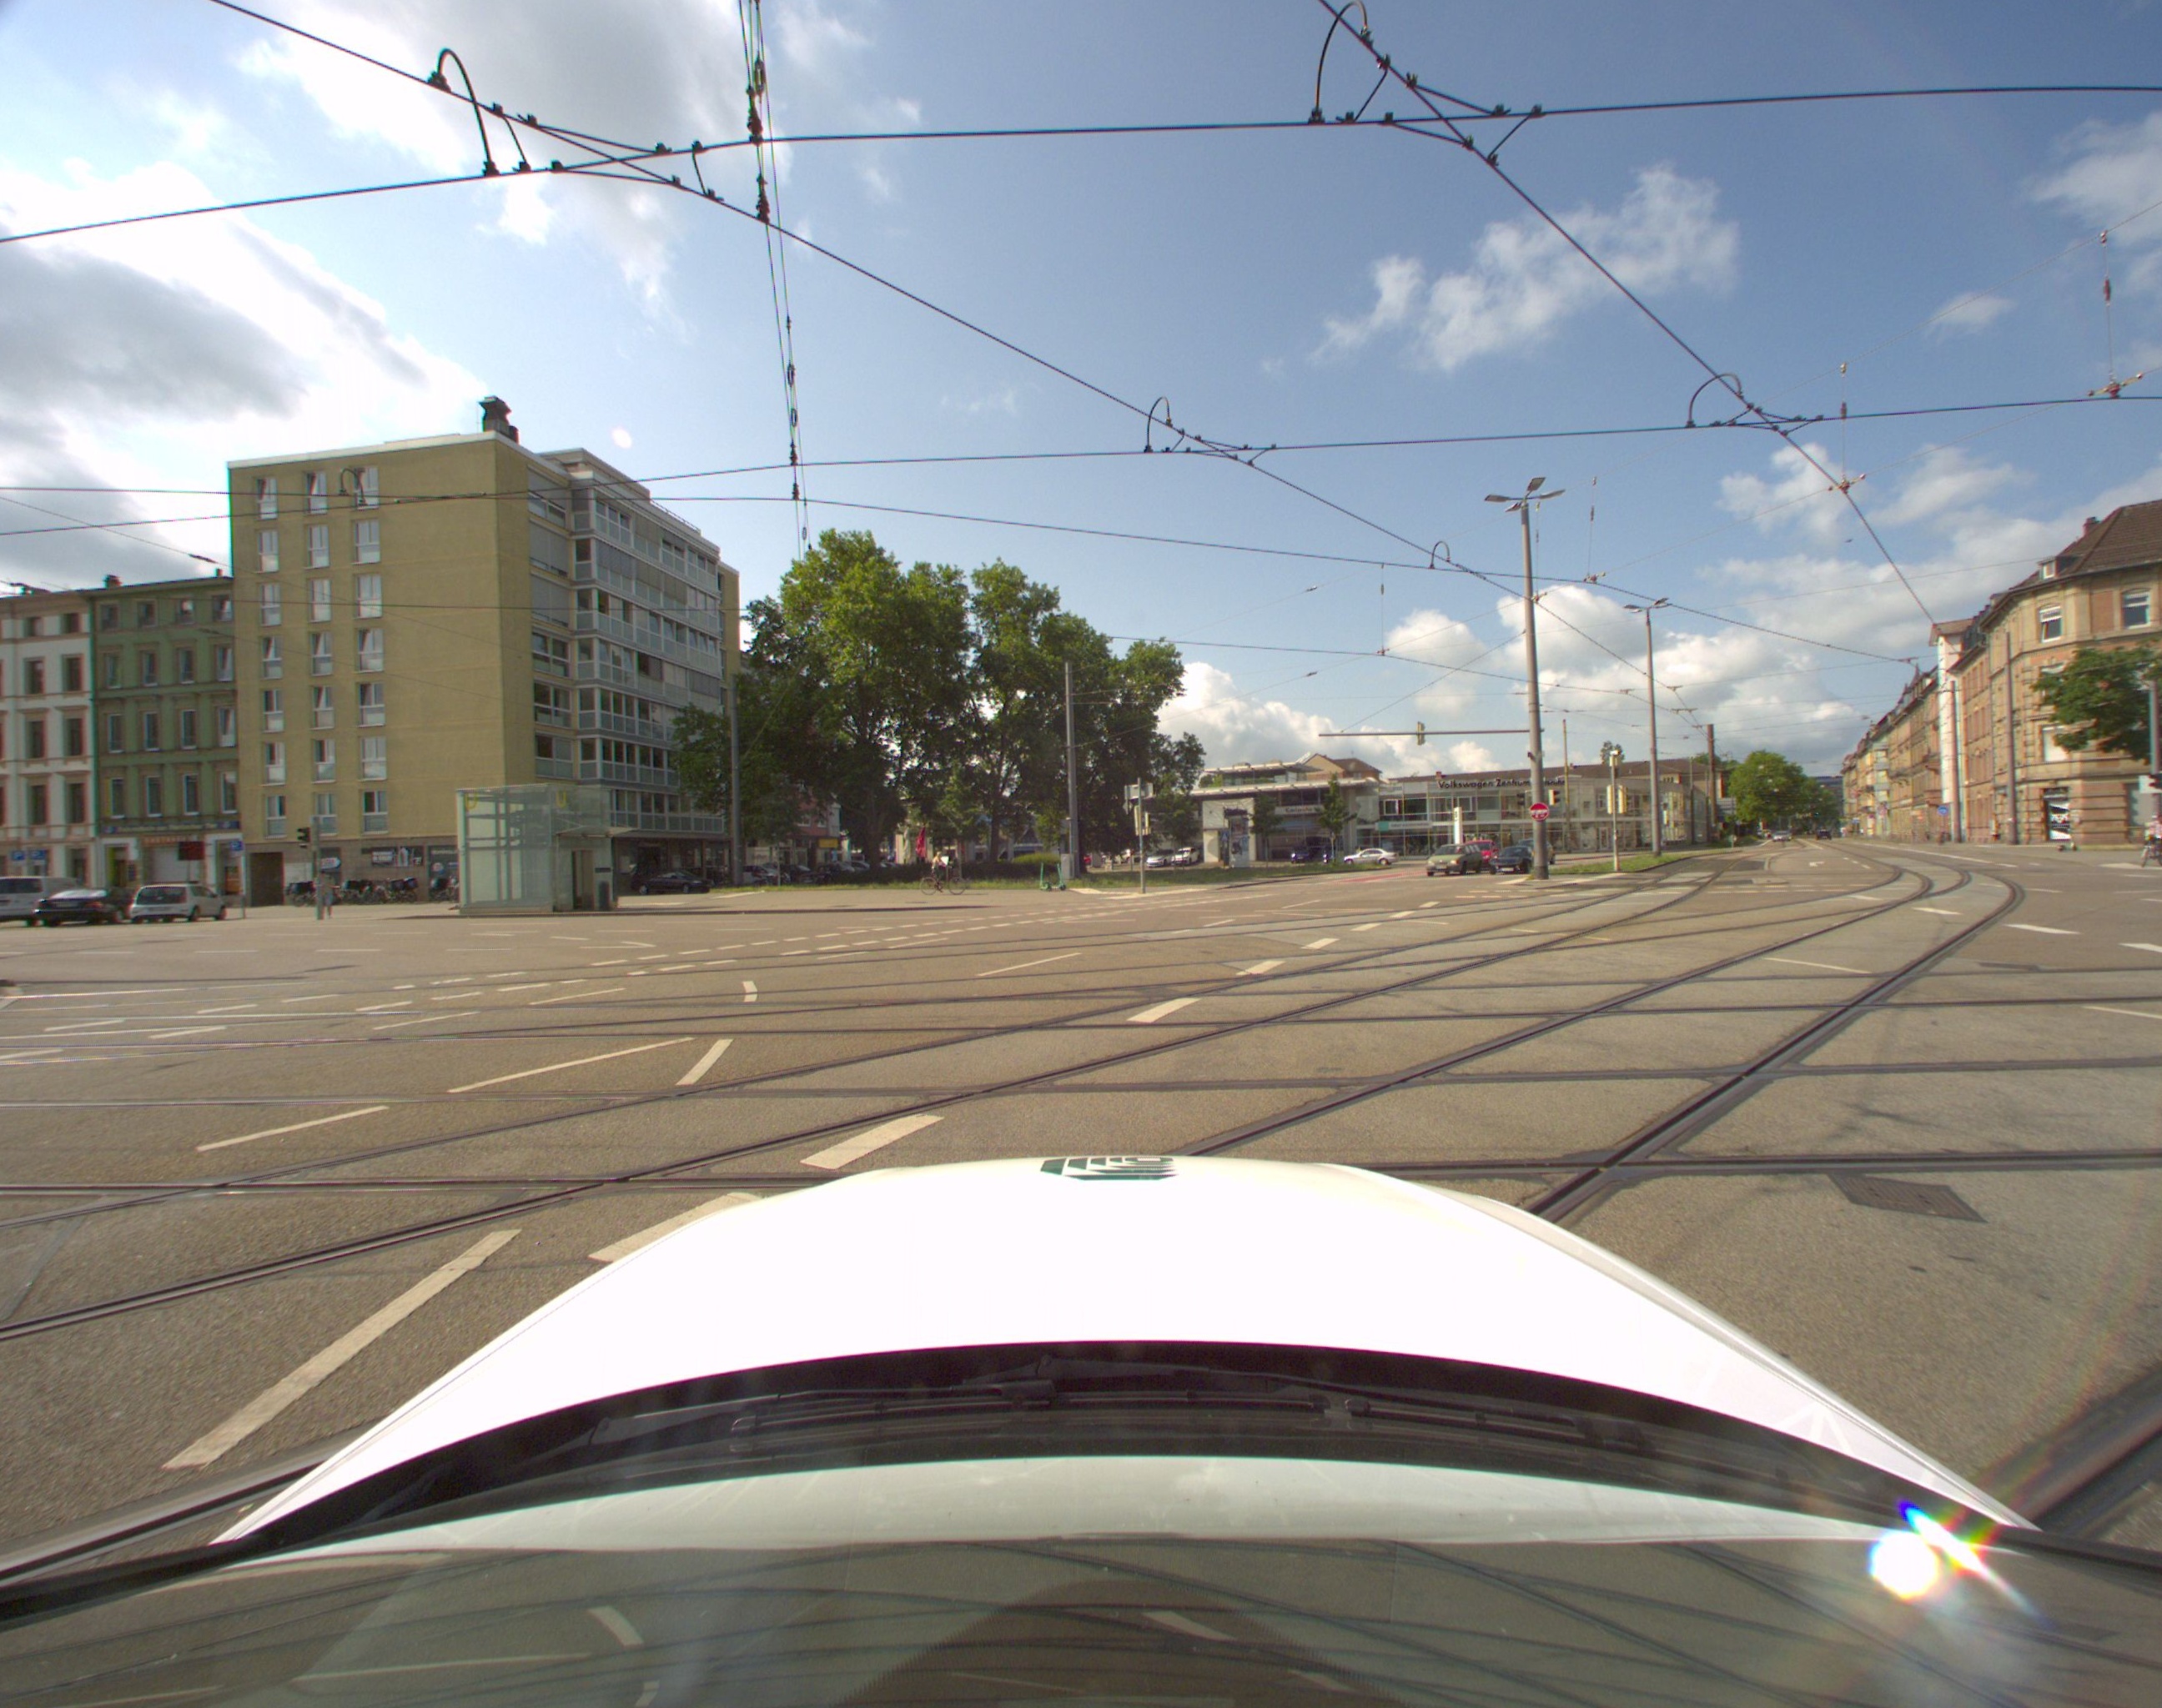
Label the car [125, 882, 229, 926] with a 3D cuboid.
[{"bbox_3d":[-35.026,1.910,31.674,1.725,1.440,3.478,2,0,-31],"label":"car"}]

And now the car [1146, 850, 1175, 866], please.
[{"bbox_3d":[8.148,0.432,83.188,1.977,1.574,4.019,-2,-1,18],"label":"car"}]

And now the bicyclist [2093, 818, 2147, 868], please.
[{"bbox_3d":[35.706,-0.381,28.005,0.775,1.658,1.205,-4,-2,37],"label":"bicyclist"}]

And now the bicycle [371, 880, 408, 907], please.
[{"bbox_3d":[-33.658,1.901,39.641,1.628,1.201,0.489,2,2,14],"label":"bicycle"}]

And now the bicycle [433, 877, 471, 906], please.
[{"bbox_3d":[-30.122,1.807,38.997,1.628,1.272,0.489,2,2,14],"label":"bicycle"}]

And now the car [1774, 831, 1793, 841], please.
[{"bbox_3d":[100.344,-2.529,116.330,1.974,1.332,4.025,-2,0,41],"label":"car"}]

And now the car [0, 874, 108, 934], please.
[{"bbox_3d":[-41.942,1.939,32.940,2.088,2.084,4.847,1,0,-35],"label":"car"}]

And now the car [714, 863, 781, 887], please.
[{"bbox_3d":[-22.151,1.381,54.128,3.542,1.530,2.005,-2,-1,9],"label":"car"}]

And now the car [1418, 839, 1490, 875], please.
[{"bbox_3d":[17.008,0.149,37.023,1.803,1.513,4.024,-2,-2,42],"label":"car"}]

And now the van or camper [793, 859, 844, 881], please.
[{"bbox_3d":[-31.412,1.964,97.351,5.821,2.469,2.407,-2,-1,28],"label":"van or camper"}]

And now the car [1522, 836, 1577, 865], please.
[{"bbox_3d":[27.440,-0.206,47.639,1.974,1.552,4.025,-2,0,41],"label":"car"}]

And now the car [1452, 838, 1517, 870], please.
[{"bbox_3d":[20.832,0.022,41.978,1.974,1.519,4.024,-2,-2,42],"label":"car"}]

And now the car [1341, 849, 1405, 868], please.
[{"bbox_3d":[23.524,0.378,65.595,4.491,1.354,2.012,-2,-1,30],"label":"car"}]

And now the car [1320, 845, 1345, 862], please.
[{"bbox_3d":[23.052,-0.030,74.529,1.903,1.444,4.021,0,2,21],"label":"car"}]

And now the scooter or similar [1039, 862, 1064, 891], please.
[{"bbox_3d":[-1.209,0.926,33.625,0.932,1.157,0.378,1,2,-30],"label":"scooter or similar"}]

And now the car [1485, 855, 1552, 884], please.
[{"bbox_3d":[19.050,0.674,35.398,1.606,1.161,4.024,-2,-1,42],"label":"car"}]

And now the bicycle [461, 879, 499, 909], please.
[{"bbox_3d":[-28.684,1.900,38.853,1.628,1.272,0.489,2,2,14],"label":"bicycle"}]

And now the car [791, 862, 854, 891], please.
[{"bbox_3d":[-15.414,1.325,48.706,1.779,1.420,4.014,3,2,12],"label":"car"}]

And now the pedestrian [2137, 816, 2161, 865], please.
[{"bbox_3d":[36.490,-0.461,27.531,0.796,1.642,0.704,-2,0,-18],"label":"pedestrian"}]

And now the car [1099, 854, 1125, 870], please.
[{"bbox_3d":[3.309,0.871,85.803,1.668,1.596,4.017,-2,-1,17],"label":"car"}]

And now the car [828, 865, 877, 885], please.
[{"bbox_3d":[-19.335,1.730,68.880,3.583,1.594,1.672,-2,-1,13],"label":"car"}]

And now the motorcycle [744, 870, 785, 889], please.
[{"bbox_3d":[-16.420,1.327,42.308,1.902,0.902,0.599,-1,1,-34],"label":"motorcycle"}]

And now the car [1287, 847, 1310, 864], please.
[{"bbox_3d":[20.438,0.141,76.454,1.905,1.445,4.018,-2,0,17],"label":"car"}]

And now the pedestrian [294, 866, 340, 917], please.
[{"bbox_3d":[-27.713,1.344,29.549,0.785,1.759,0.990,-2,0,-14],"label":"pedestrian"}]

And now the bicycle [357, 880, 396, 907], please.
[{"bbox_3d":[-33.832,1.896,39.100,1.628,1.201,0.551,2,2,14],"label":"bicycle"}]

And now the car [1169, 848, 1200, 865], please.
[{"bbox_3d":[10.412,0.230,82.003,2.049,1.604,4.022,-2,0,22],"label":"car"}]

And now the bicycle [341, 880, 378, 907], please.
[{"bbox_3d":[-35.405,1.948,39.962,1.628,1.201,0.489,2,2,14],"label":"bicycle"}]

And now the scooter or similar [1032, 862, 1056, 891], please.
[{"bbox_3d":[-1.546,0.943,34.105,0.929,1.157,0.379,1,1,-18],"label":"scooter or similar"}]

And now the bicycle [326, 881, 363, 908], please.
[{"bbox_3d":[-35.702,1.946,39.470,1.628,1.201,0.489,2,2,14],"label":"bicycle"}]

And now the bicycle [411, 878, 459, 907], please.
[{"bbox_3d":[-30.527,1.807,38.498,1.877,1.272,0.488,2,1,1],"label":"bicycle"}]

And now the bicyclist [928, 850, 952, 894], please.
[{"bbox_3d":[-5.653,0.716,32.633,0.823,1.745,0.711,-1,-1,-2],"label":"bicyclist"}]

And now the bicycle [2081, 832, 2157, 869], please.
[{"bbox_3d":[35.731,-0.138,28.078,0.889,1.170,2.698,-4,-2,37],"label":"bicycle"}]

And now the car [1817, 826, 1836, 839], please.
[{"bbox_3d":[113.249,-3.263,123.653,1.975,2.013,4.024,-2,0,44],"label":"car"}]

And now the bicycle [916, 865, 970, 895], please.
[{"bbox_3d":[-5.512,1.042,32.595,1.980,1.127,0.789,-1,-1,-2],"label":"bicycle"}]

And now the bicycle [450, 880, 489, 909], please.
[{"bbox_3d":[-28.783,1.892,38.319,1.628,1.272,0.533,2,2,14],"label":"bicycle"}]

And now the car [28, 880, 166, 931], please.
[{"bbox_3d":[-38.030,1.914,31.649,1.897,1.468,5.014,1,2,-32],"label":"car"}]

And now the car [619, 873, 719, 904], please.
[{"bbox_3d":[-22.142,1.851,43.845,4.353,1.585,2.004,0,-1,8],"label":"car"}]
